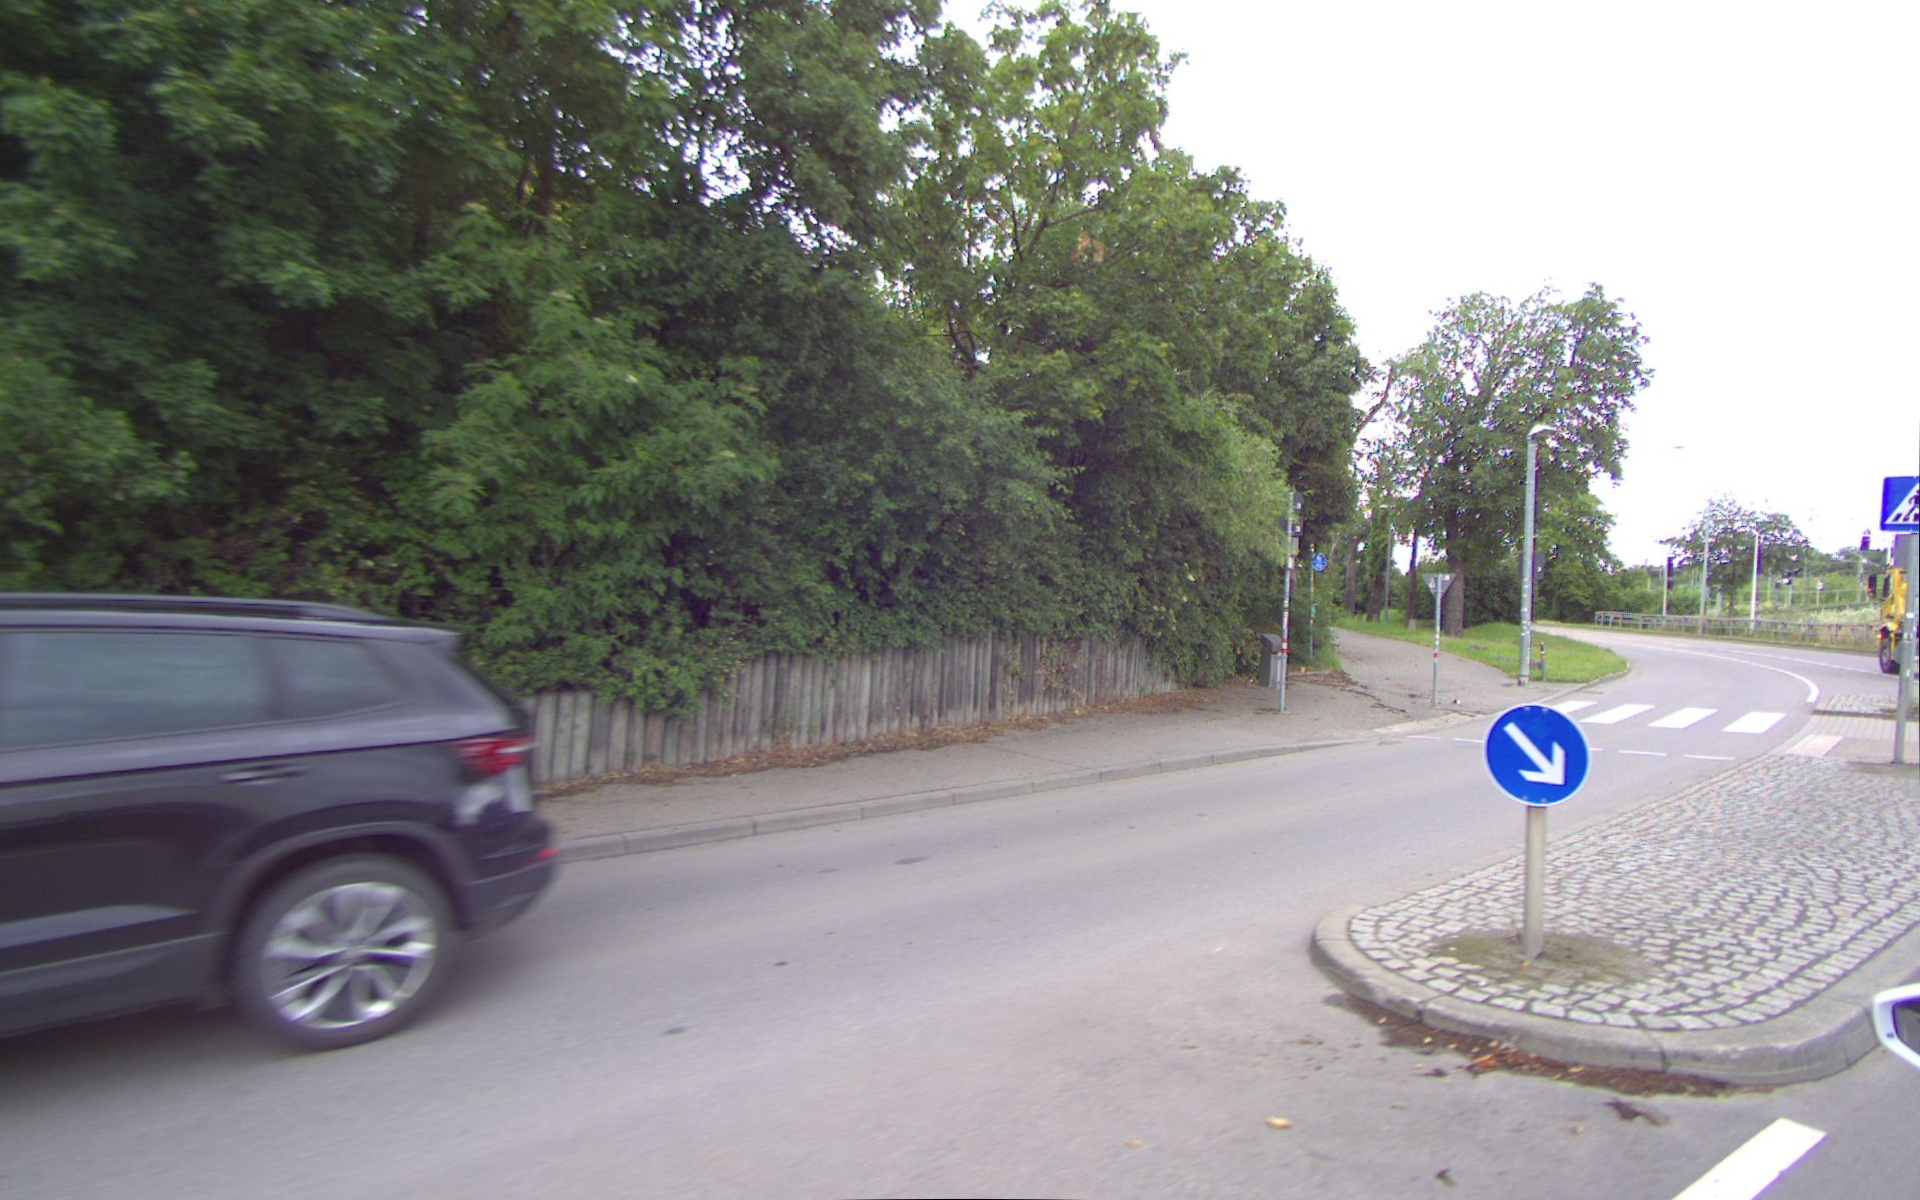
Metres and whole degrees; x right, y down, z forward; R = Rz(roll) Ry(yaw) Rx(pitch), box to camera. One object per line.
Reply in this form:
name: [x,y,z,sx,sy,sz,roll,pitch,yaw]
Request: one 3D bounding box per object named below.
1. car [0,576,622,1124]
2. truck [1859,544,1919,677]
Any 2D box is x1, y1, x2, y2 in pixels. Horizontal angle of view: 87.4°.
car: [-3.570,0.774,3.591,4.140,1.631,1.789,2,-3,-39]
truck: [27.632,0.295,27.596,2.725,3.530,8.111,1,1,31]
